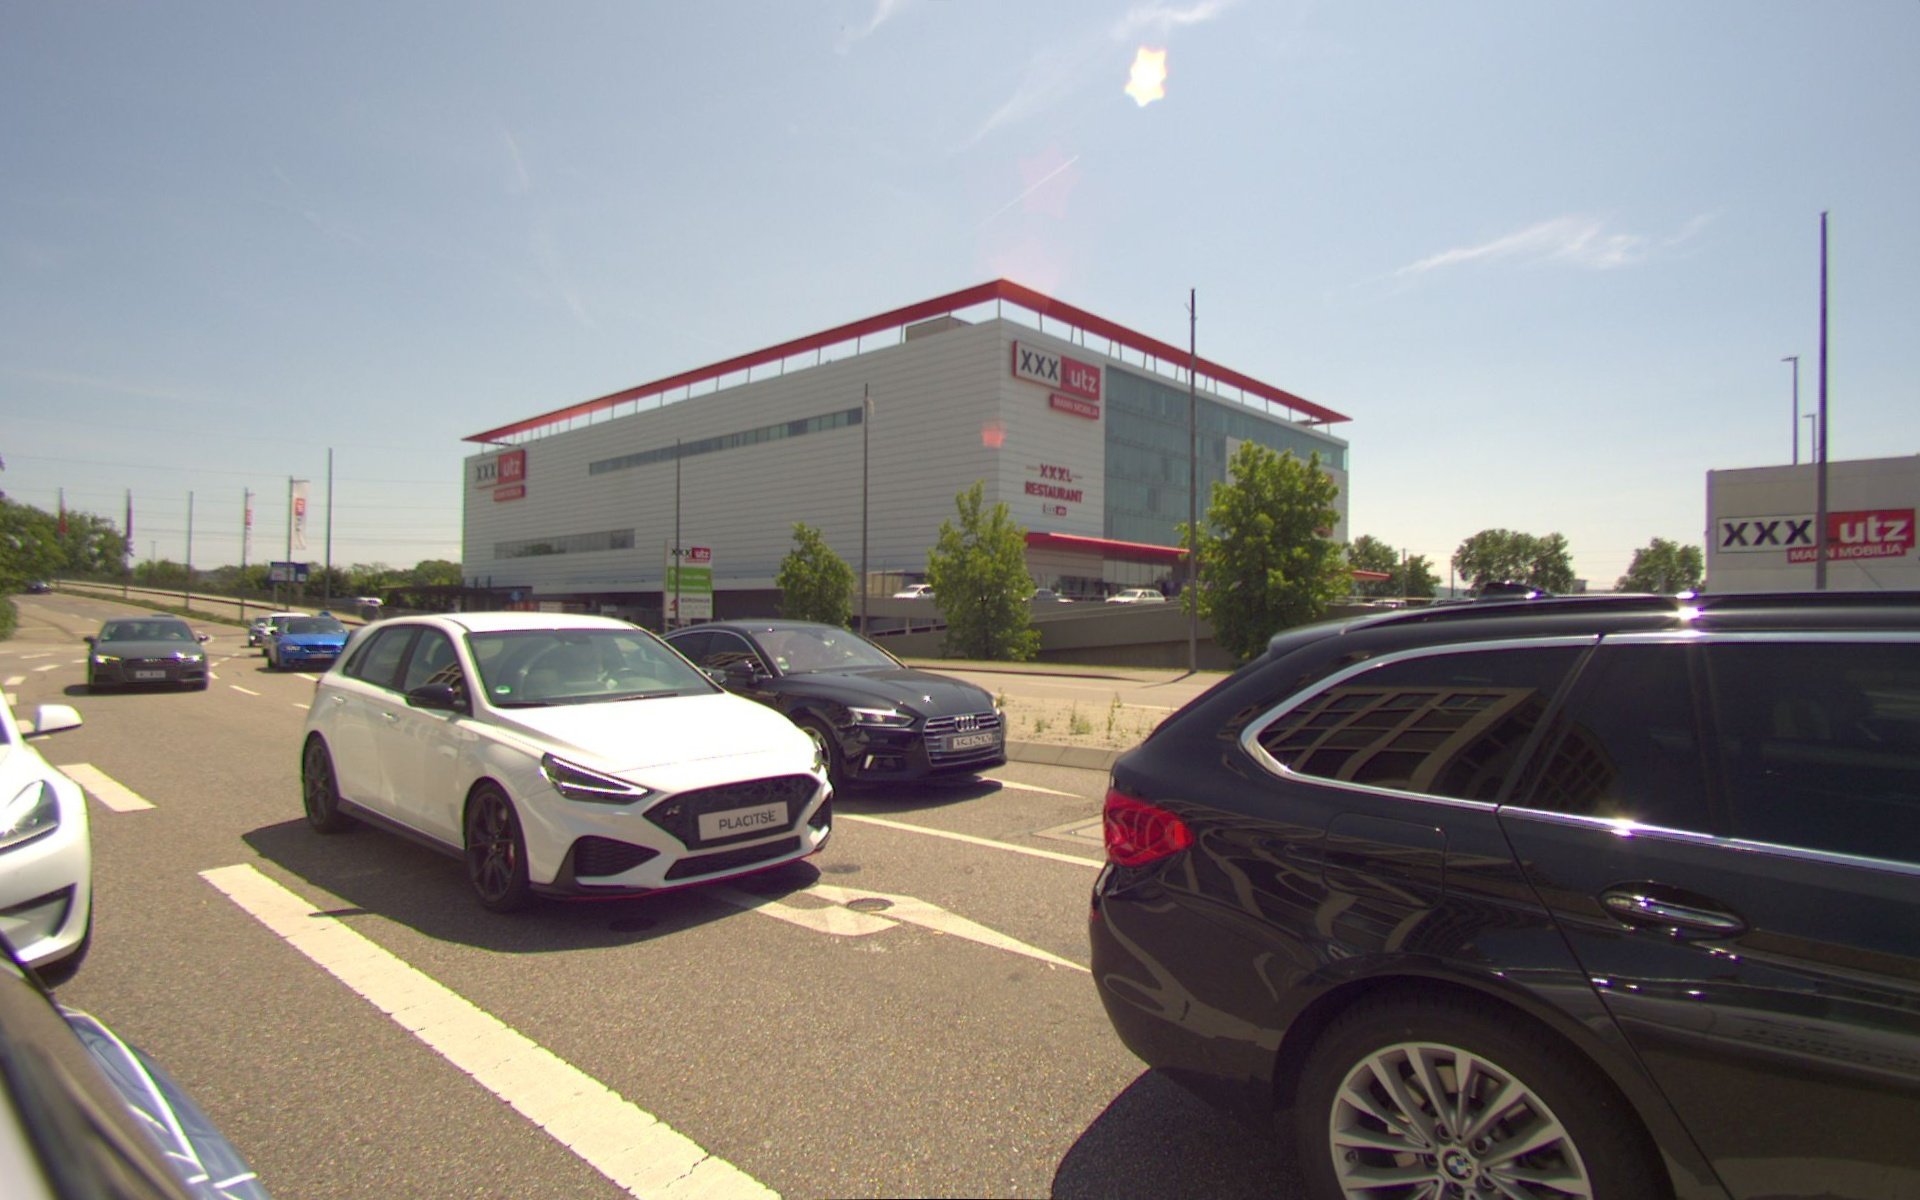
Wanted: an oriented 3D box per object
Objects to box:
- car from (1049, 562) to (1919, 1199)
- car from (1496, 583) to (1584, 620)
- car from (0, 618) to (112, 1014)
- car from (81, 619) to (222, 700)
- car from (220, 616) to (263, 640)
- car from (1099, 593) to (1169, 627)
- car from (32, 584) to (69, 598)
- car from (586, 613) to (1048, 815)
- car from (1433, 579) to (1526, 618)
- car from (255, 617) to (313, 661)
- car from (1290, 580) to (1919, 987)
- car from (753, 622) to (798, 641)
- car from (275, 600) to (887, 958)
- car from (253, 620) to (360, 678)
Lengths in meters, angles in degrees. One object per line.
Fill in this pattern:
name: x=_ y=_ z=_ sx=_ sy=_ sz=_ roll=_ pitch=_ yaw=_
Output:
car: x=2.554 y=0.672 z=1.731 sx=4.620 sy=1.477 sz=1.781 roll=-1 pitch=-1 yaw=40
car: x=32.126 y=0.103 z=56.068 sx=3.996 sy=1.923 sz=1.974 roll=-1 pitch=-2 yaw=39
car: x=-5.582 y=0.823 z=4.602 sx=4.401 sy=1.436 sz=1.857 roll=-1 pitch=-1 yaw=39
car: x=-15.904 y=1.084 z=19.817 sx=1.776 sy=1.388 sz=4.410 roll=2 pitch=-2 yaw=-43
car: x=-50.552 y=1.974 z=71.176 sx=1.811 sy=1.674 sz=4.003 roll=2 pitch=-2 yaw=-44
car: x=9.928 y=0.583 z=57.570 sx=2.001 sy=1.781 sz=4.140 roll=0 pitch=-2 yaw=44
car: x=-97.133 y=-0.952 z=108.100 sx=4.358 sy=1.364 sz=1.977 roll=3 pitch=2 yaw=35
car: x=-1.519 y=0.857 z=9.240 sx=4.533 sy=1.401 sz=1.729 roll=-2 pitch=-2 yaw=43
car: x=27.220 y=-0.024 z=53.096 sx=3.998 sy=1.946 sz=1.973 roll=-1 pitch=-2 yaw=41
car: x=-26.244 y=1.464 z=39.233 sx=1.653 sy=1.587 sz=4.066 roll=1 pitch=-1 yaw=-37
car: x=3.800 y=0.688 z=4.672 sx=3.991 sy=1.505 sz=1.782 roll=-1 pitch=-1 yaw=36
car: x=-16.997 y=2.908 z=93.407 sx=1.911 sy=1.632 sz=3.698 roll=0 pitch=-2 yaw=41
car: x=-2.539 y=0.781 z=6.195 sx=4.228 sy=1.461 sz=1.712 roll=-1 pitch=-2 yaw=41
car: x=-17.522 y=1.251 z=27.032 sx=1.775 sy=1.424 sz=4.412 roll=2 pitch=-2 yaw=-41
